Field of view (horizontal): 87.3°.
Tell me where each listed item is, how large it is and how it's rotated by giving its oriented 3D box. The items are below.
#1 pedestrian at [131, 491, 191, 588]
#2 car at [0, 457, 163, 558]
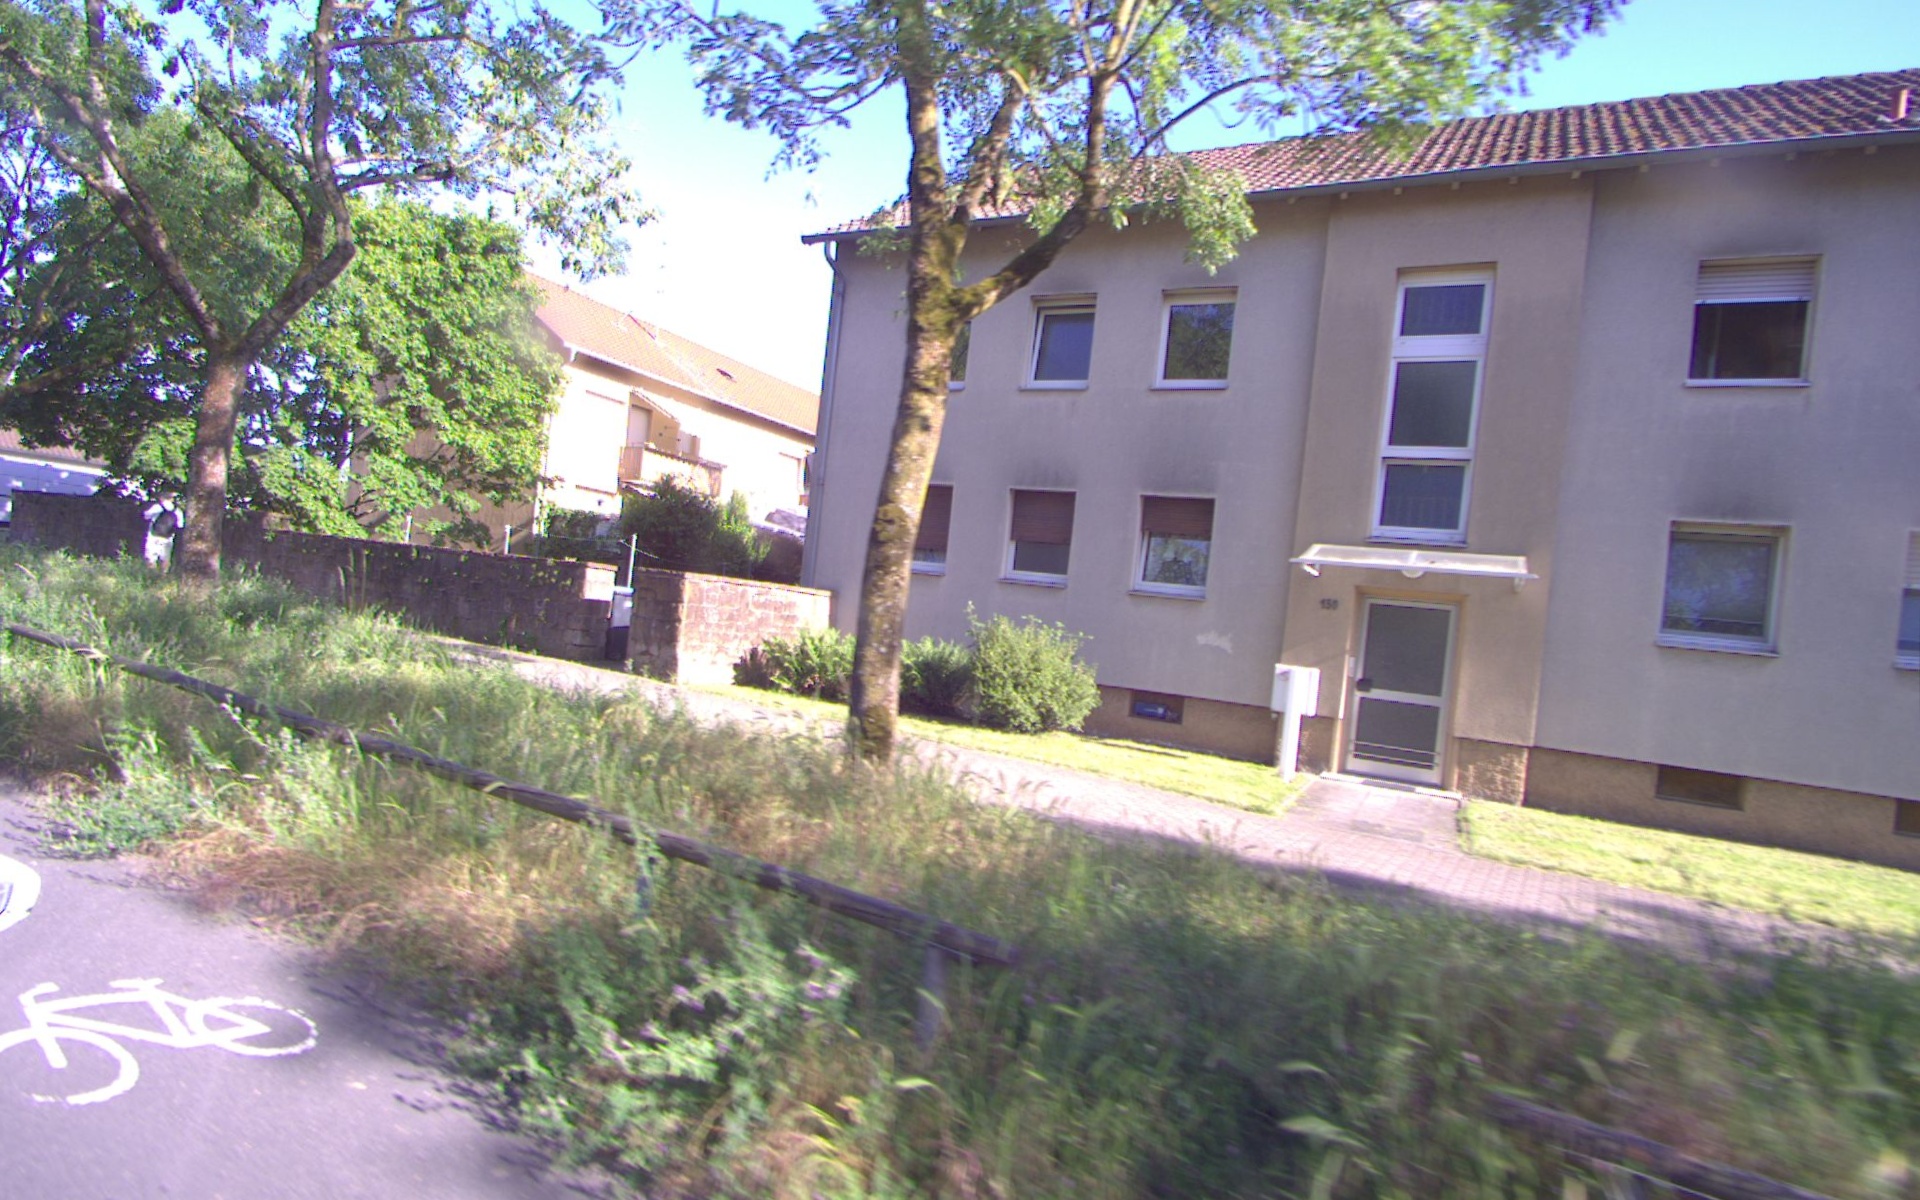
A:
[{"bbox_3d":[-15.017,-1.127,18.915,0.602,1.729,0.637,8,4,31],"label":"pedestrian"},{"bbox_3d":[-28.995,-2.987,31.615,2.227,2.570,5.604,7,0,29],"label":"car"}]
